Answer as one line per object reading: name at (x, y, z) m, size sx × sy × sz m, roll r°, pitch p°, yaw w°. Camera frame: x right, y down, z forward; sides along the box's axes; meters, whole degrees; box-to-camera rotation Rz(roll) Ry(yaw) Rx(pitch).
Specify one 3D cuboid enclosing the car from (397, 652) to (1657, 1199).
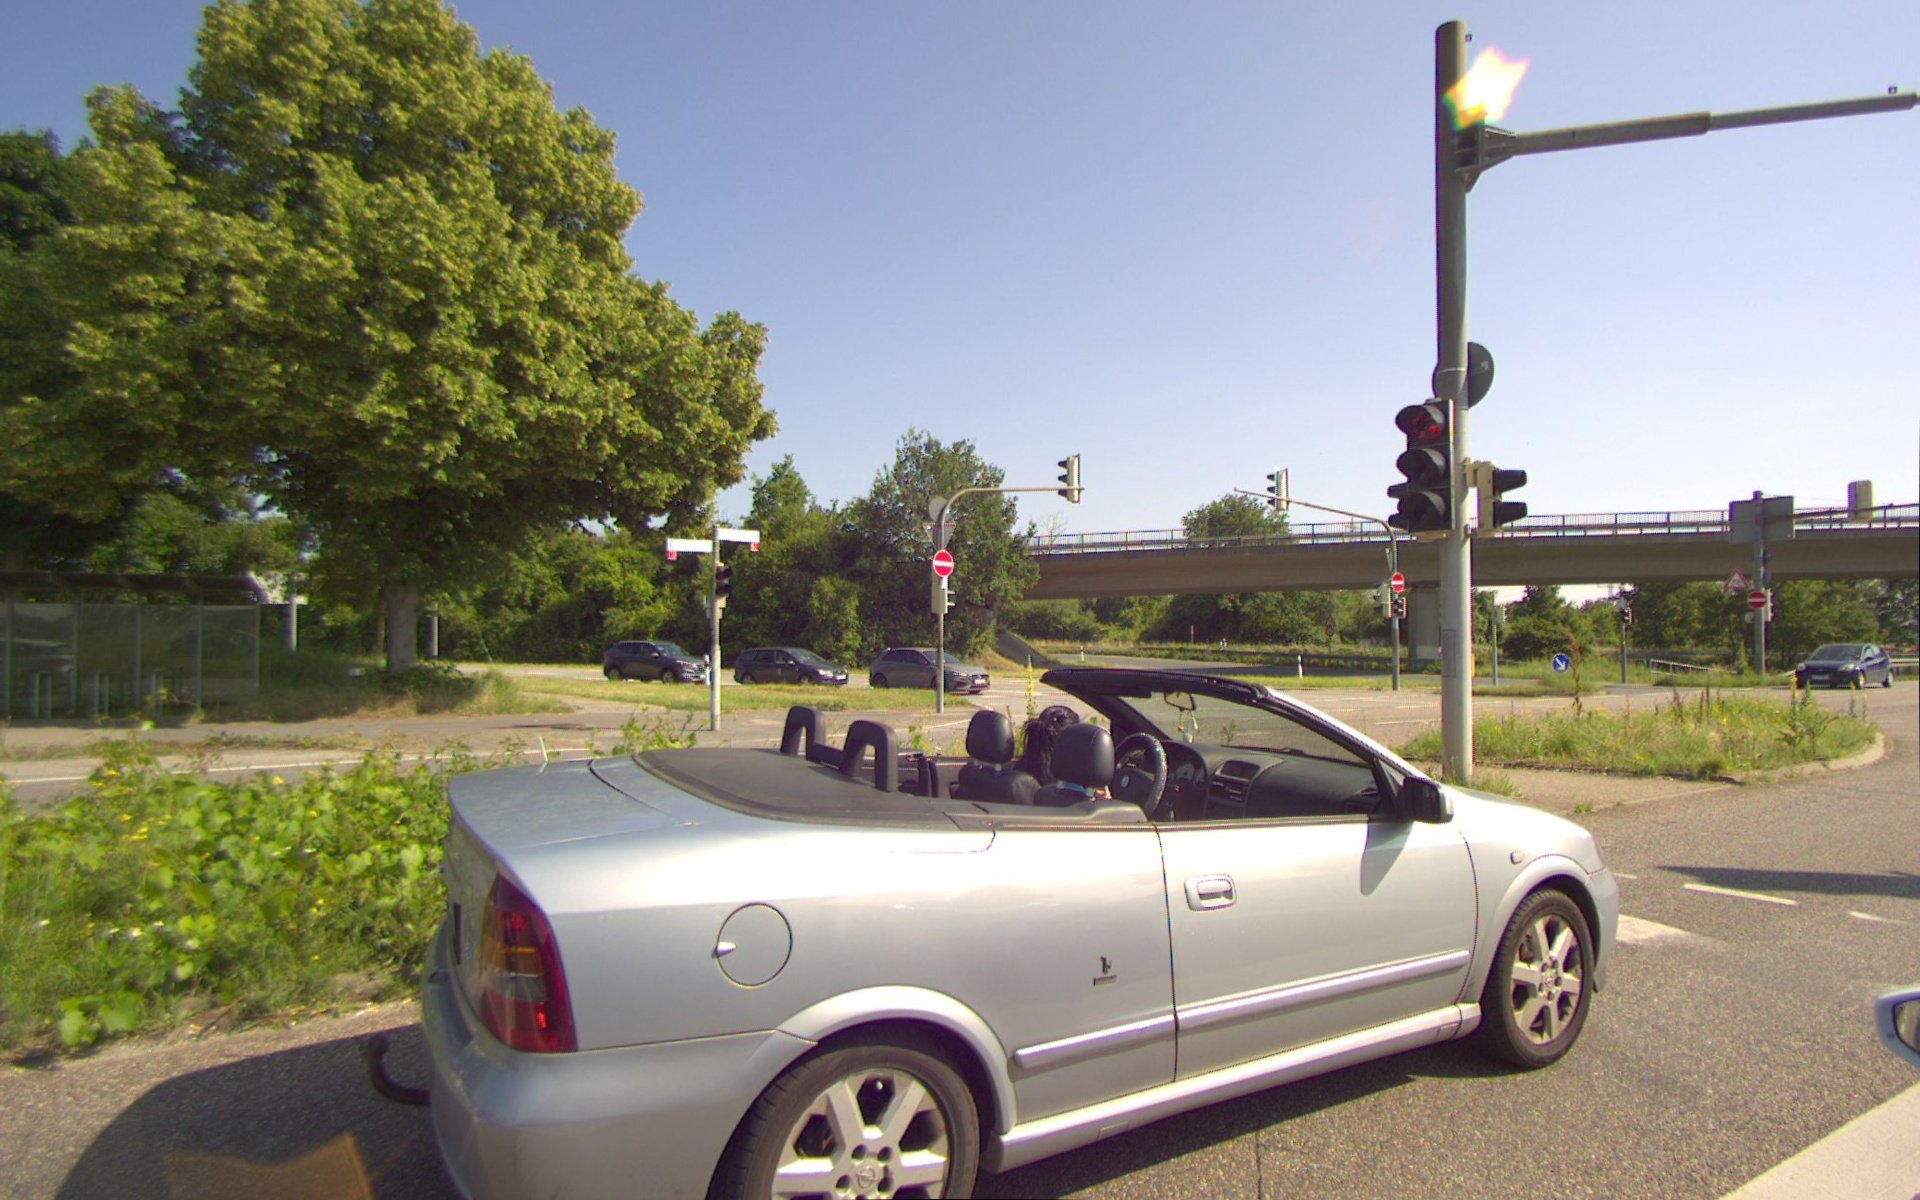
car at (0.412, 0.873, 3.425) m, size 4.049 × 1.352 × 1.666 m, roll 1°, pitch -3°, yaw -30°

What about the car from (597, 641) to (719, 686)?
car at (-11.297, 2.333, 37.592) m, size 4.270 × 1.616 × 1.651 m, roll -1°, pitch -2°, yaw 22°

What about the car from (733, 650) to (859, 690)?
car at (-5.768, 2.405, 35.150) m, size 4.276 × 1.297 × 1.648 m, roll -1°, pitch -2°, yaw 30°

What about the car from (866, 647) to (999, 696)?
car at (-0.904, 2.226, 32.007) m, size 4.066 × 1.443 × 1.862 m, roll -2°, pitch -3°, yaw 41°

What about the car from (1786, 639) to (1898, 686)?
car at (29.026, 2.049, 33.042) m, size 3.732 × 1.460 × 1.607 m, roll 1°, pitch -4°, yaw -30°
